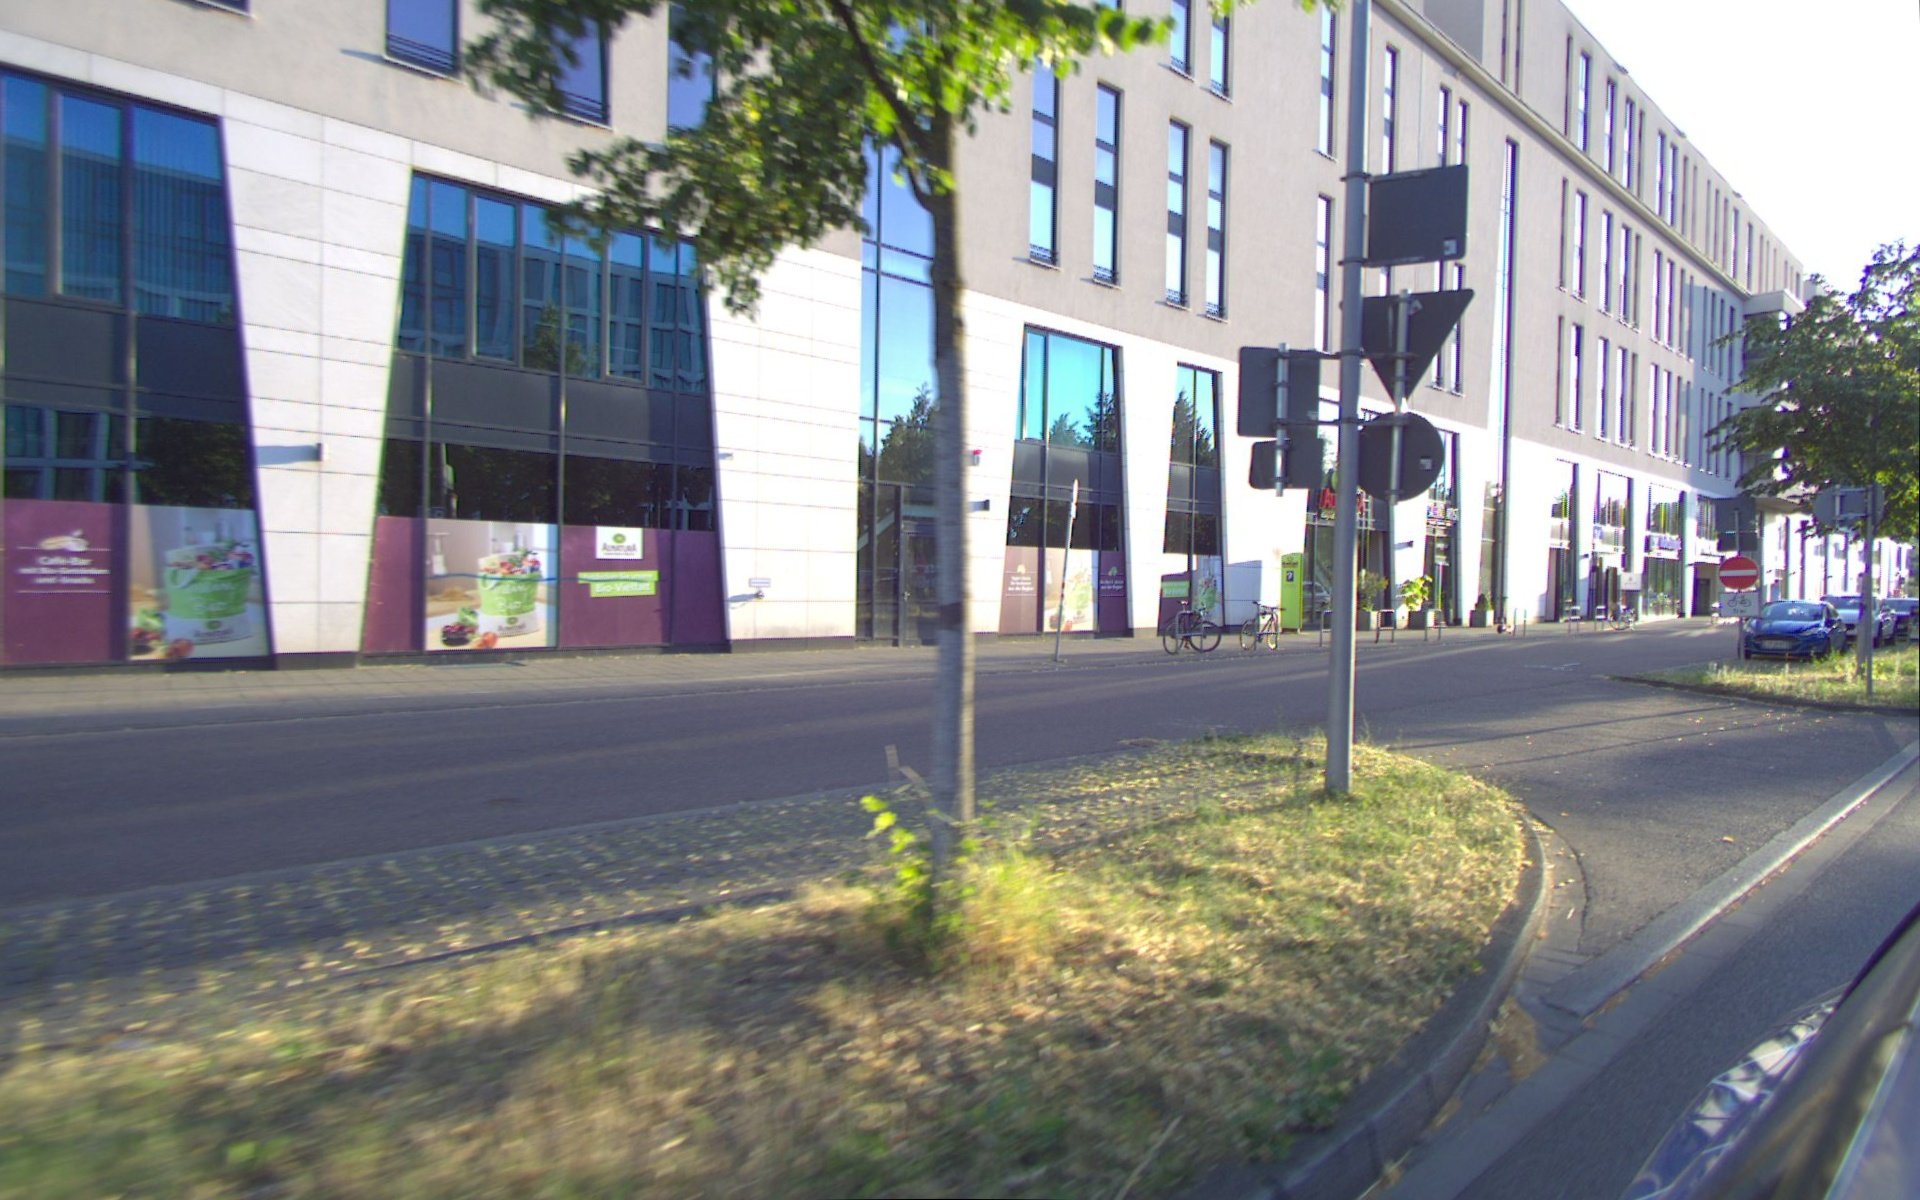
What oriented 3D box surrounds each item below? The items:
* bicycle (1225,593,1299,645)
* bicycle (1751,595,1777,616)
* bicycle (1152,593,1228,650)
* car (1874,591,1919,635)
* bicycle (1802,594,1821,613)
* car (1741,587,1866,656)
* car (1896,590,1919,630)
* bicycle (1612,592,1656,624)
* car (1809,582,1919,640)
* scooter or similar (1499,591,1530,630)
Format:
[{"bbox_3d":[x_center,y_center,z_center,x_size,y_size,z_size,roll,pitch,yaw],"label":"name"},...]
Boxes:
[{"bbox_3d":[6.694,0.420,22.371,1.925,1.074,0.519,1,3,-39],"label":"bicycle"},{"bbox_3d":[41.007,0.279,51.606,2.019,1.052,0.654,0,1,-40],"label":"bicycle"},{"bbox_3d":[4.684,0.425,20.546,1.740,1.085,0.448,0,3,-37],"label":"bicycle"},{"bbox_3d":[34.908,0.445,36.873,4.404,1.549,1.858,0,0,-41],"label":"car"},{"bbox_3d":[50.770,0.219,60.359,1.824,1.074,0.534,1,3,-41],"label":"bicycle"},{"bbox_3d":[20.800,0.480,24.916,4.194,1.549,1.727,0,0,-41],"label":"car"},{"bbox_3d":[40.145,0.414,41.697,4.730,1.568,1.946,0,2,-43],"label":"car"},{"bbox_3d":[25.453,0.292,38.227,1.796,1.138,0.573,1,2,-29],"label":"bicycle"},{"bbox_3d":[29.224,0.334,32.609,5.066,1.736,1.955,0,0,-39],"label":"car"},{"bbox_3d":[17.627,0.323,32.167,1.287,1.201,0.357,0,2,-39],"label":"scooter or similar"}]
